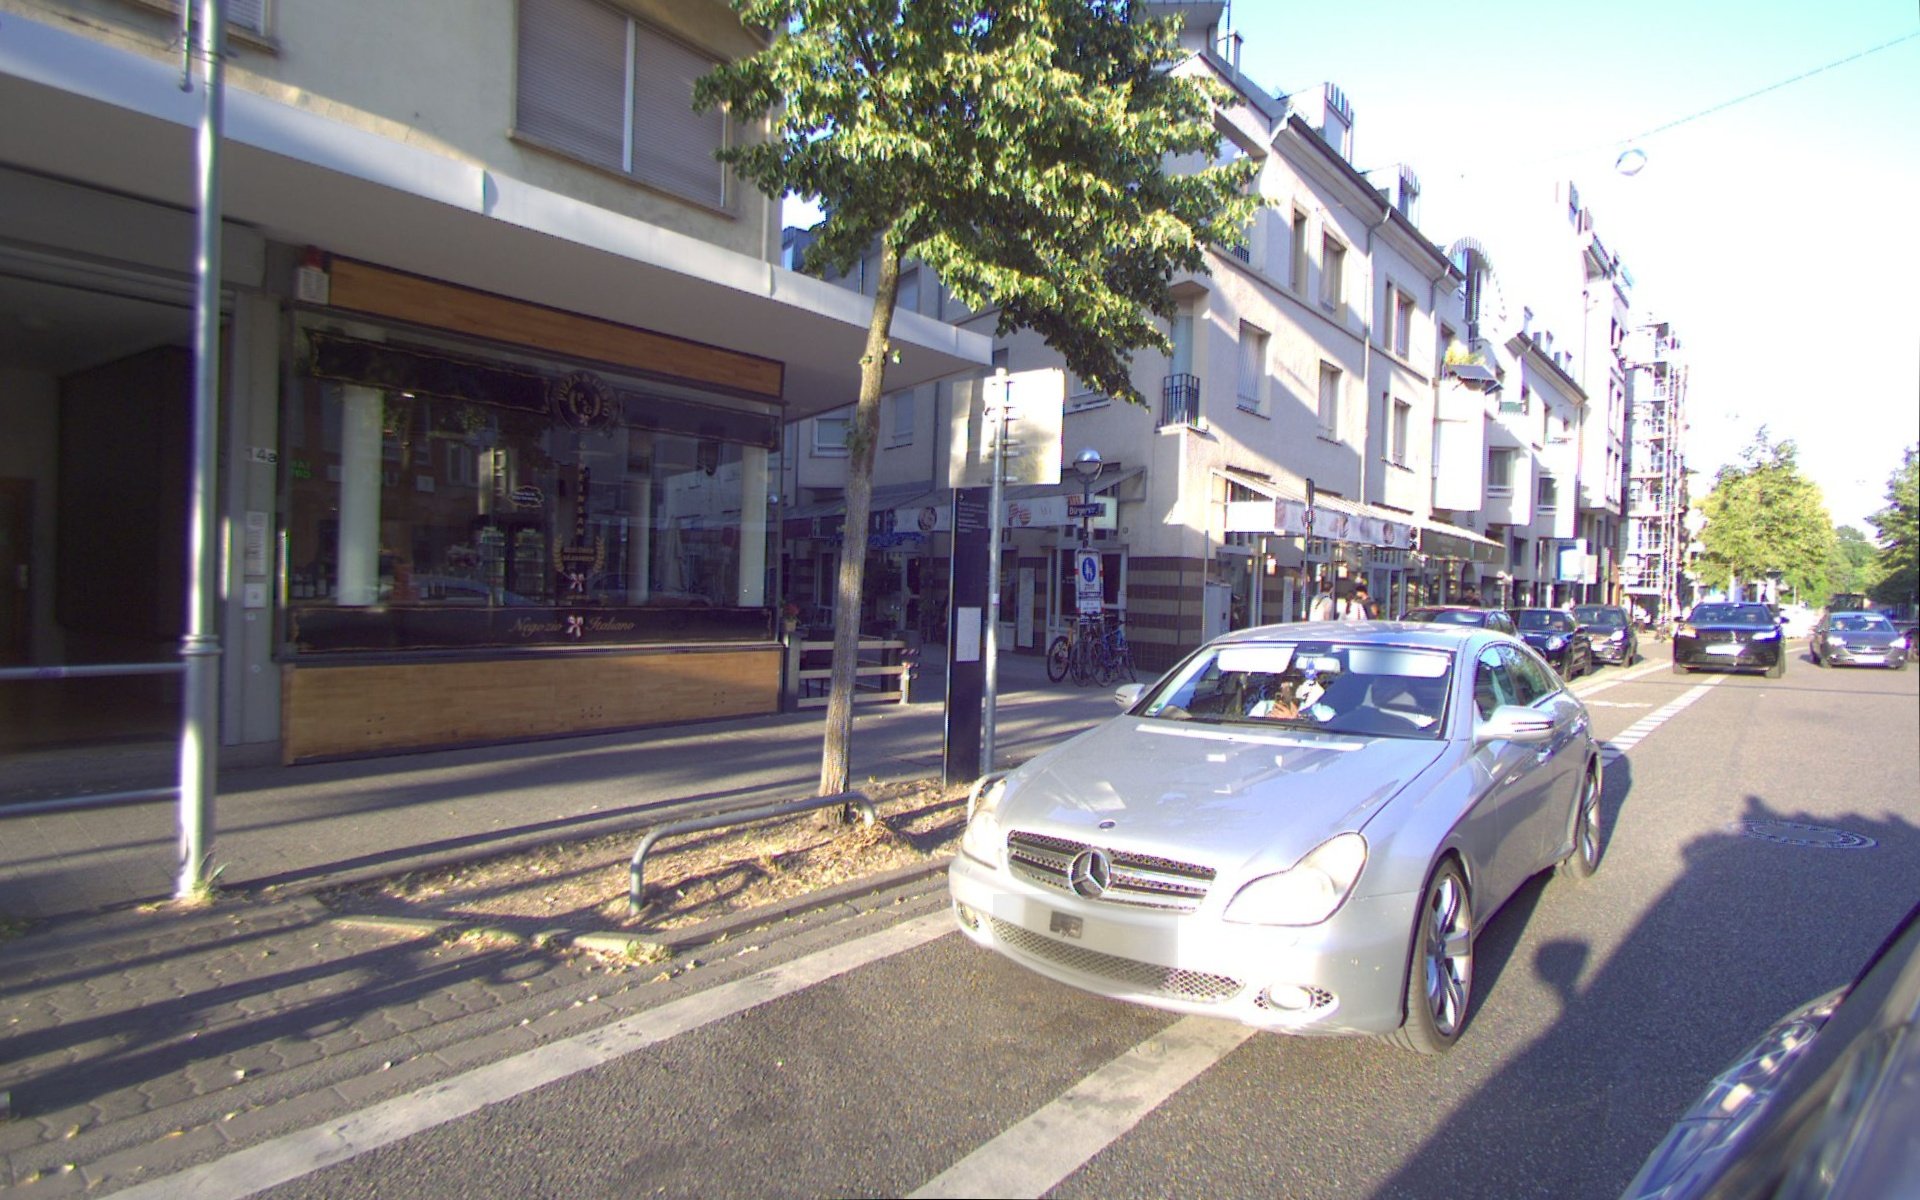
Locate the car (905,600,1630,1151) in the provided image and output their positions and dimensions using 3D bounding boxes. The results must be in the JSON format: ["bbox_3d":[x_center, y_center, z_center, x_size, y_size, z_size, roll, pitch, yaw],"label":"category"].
[{"bbox_3d":[1.921,0.712,4.938,1.740,1.419,4.571,0,0,40],"label":"car"}]

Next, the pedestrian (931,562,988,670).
[{"bbox_3d":[-0.023,0.245,16.459,0.688,1.696,0.799,2,2,-13],"label":"pedestrian"}]

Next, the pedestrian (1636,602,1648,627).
[{"bbox_3d":[36.266,0.761,53.823,0.490,1.279,0.415,0,0,42],"label":"pedestrian"}]

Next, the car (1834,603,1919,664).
[{"bbox_3d":[24.226,0.836,26.786,1.616,1.492,3.634,0,0,41],"label":"car"}]

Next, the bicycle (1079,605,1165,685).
[{"bbox_3d":[2.461,0.644,15.191,0.320,1.118,1.851,2,1,41],"label":"bicycle"}]

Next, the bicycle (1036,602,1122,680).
[{"bbox_3d":[1.866,0.610,15.719,0.320,1.118,1.851,2,1,41],"label":"bicycle"}]

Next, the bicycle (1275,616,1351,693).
[{"bbox_3d":[5.316,0.789,15.177,0.314,1.059,1.853,3,2,43],"label":"bicycle"}]

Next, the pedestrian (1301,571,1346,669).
[{"bbox_3d":[6.853,0.369,19.077,0.543,1.779,0.495,5,3,41],"label":"pedestrian"}]

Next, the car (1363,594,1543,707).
[{"bbox_3d":[7.768,0.690,15.774,1.587,1.451,3.868,4,2,40],"label":"car"}]

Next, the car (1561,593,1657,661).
[{"bbox_3d":[17.149,0.667,26.669,1.615,1.612,3.868,2,1,40],"label":"car"}]

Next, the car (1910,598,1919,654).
[{"bbox_3d":[29.102,0.835,28.463,1.713,1.696,4.272,2,1,17],"label":"car"}]

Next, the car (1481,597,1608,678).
[{"bbox_3d":[12.244,0.711,21.108,1.615,1.452,3.868,3,2,40],"label":"car"}]

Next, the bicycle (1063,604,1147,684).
[{"bbox_3d":[2.234,0.637,15.396,0.290,1.118,1.859,2,1,41],"label":"bicycle"}]

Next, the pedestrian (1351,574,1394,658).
[{"bbox_3d":[8.969,0.345,22.020,0.629,1.771,0.660,3,2,41],"label":"pedestrian"}]

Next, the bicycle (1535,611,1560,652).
[{"bbox_3d":[16.239,0.859,27.965,0.295,1.099,1.441,1,1,41],"label":"bicycle"}]

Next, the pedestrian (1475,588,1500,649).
[{"bbox_3d":[15.824,0.550,30.378,0.574,1.823,0.443,0,0,42],"label":"pedestrian"}]

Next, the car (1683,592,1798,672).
[{"bbox_3d":[17.926,0.667,23.173,1.884,1.656,4.165,0,0,41],"label":"car"}]

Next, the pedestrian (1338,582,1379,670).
[{"bbox_3d":[7.504,0.478,19.069,0.519,1.612,0.402,5,3,41],"label":"pedestrian"}]

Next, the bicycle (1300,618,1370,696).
[{"bbox_3d":[5.535,0.810,14.885,0.314,1.059,1.638,3,2,43],"label":"bicycle"}]
